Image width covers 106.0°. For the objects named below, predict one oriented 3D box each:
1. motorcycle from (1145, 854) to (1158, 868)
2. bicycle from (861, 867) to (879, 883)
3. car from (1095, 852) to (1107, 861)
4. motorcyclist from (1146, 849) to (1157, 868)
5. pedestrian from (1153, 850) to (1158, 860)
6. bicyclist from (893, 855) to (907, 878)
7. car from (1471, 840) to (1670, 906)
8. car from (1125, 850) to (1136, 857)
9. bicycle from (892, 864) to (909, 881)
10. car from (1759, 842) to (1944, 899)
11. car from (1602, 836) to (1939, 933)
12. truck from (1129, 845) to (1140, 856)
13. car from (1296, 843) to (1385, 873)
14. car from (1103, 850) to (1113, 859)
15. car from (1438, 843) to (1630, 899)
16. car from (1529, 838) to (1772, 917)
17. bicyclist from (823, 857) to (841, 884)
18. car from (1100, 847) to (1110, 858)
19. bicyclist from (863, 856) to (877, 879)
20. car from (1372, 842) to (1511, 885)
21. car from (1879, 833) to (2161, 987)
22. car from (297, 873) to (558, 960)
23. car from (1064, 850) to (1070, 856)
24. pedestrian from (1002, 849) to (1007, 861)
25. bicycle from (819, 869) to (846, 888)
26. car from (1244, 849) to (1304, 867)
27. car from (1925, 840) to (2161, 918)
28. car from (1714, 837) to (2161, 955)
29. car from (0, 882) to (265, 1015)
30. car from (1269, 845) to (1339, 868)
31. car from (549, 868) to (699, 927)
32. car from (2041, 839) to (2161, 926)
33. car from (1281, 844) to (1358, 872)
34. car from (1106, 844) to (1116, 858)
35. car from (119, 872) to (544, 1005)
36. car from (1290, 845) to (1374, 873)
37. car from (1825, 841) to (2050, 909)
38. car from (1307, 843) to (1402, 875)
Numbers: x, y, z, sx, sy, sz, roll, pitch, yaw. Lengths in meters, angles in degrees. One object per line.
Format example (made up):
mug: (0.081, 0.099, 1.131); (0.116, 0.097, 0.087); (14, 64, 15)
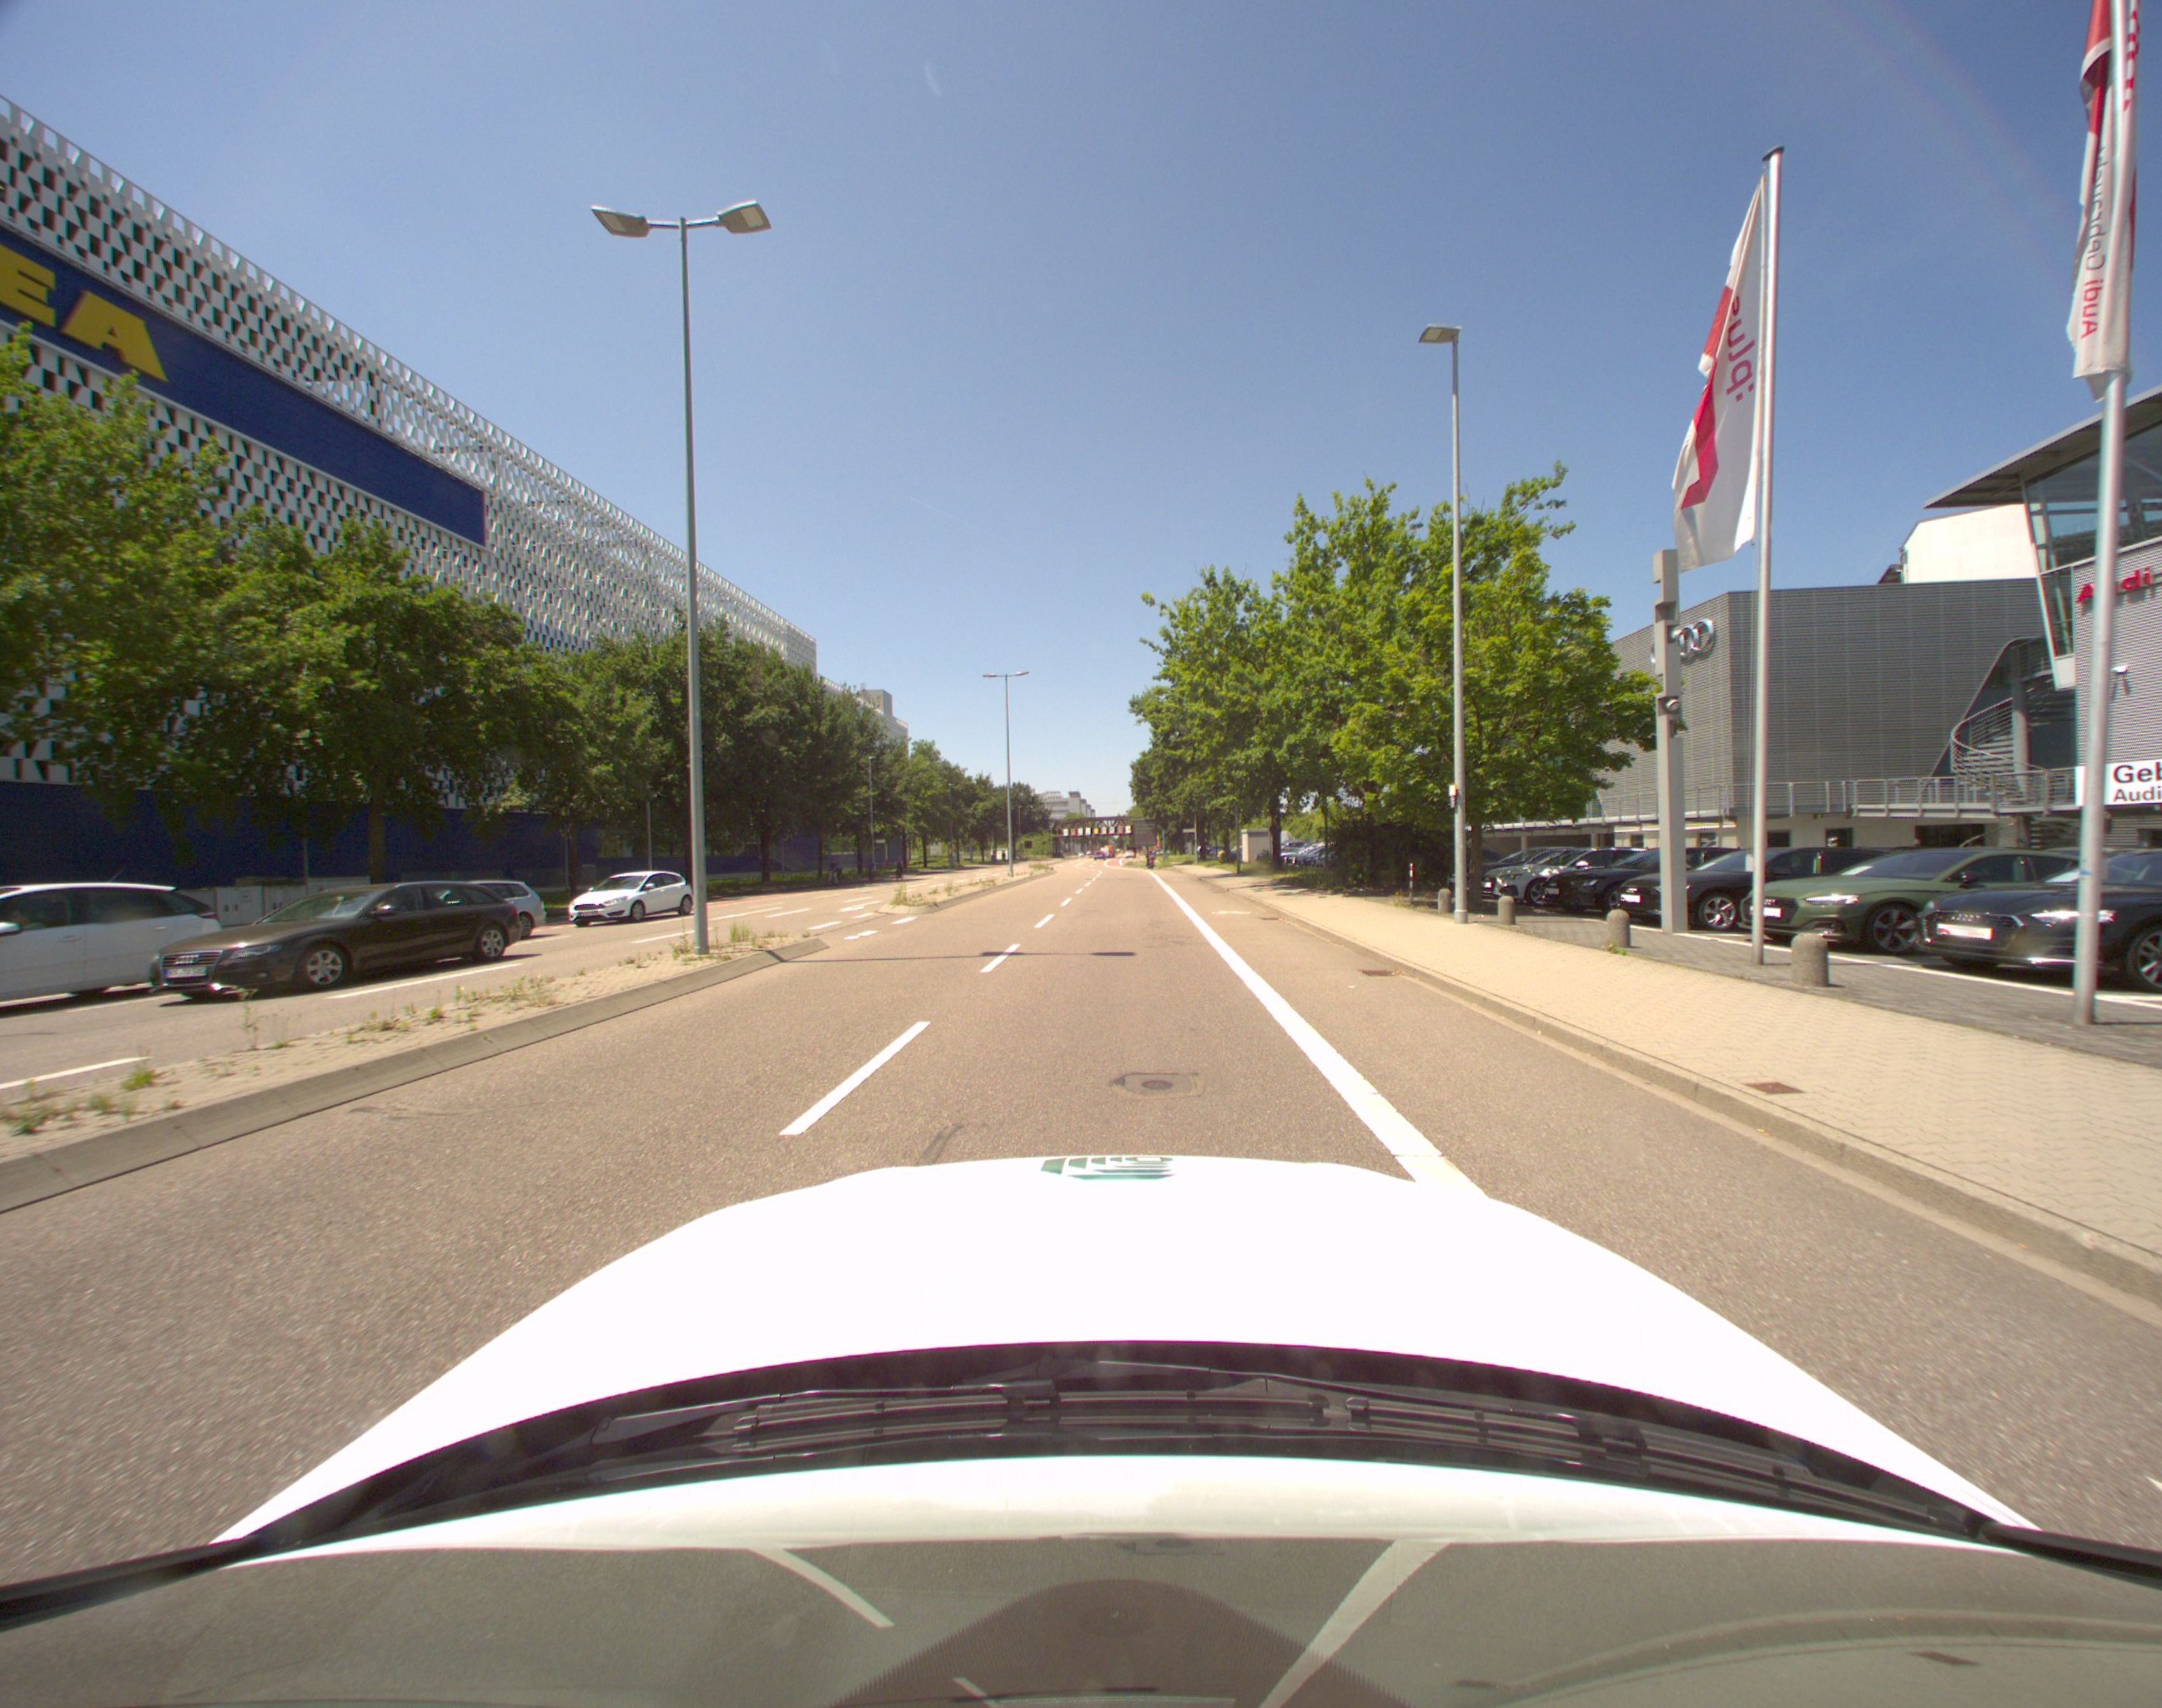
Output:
motorcycle: (5.675, 0.589, 65.572); (0.715, 1.105, 1.826); (0, 0, -7)
bicycle: (-15.346, 1.515, 59.244); (0.634, 1.133, 1.974); (-2, 0, 5)
car: (3.302, 0.390, 134.477); (1.893, 1.376, 4.234); (-2, 0, 2)
motorcyclist: (5.672, 0.390, 65.603); (0.719, 1.529, 0.869); (0, 0, -7)
pedestrian: (10.287, 0.192, 112.177); (0.621, 1.374, 0.564); (-1, 0, 1)
bicyclist: (-13.599, 0.938, 61.176); (0.631, 1.628, 1.045); (-3, 0, 2)
car: (11.573, 0.423, 19.460); (3.666, 1.453, 1.835); (1, 0, 3)
car: (9.475, -0.084, 155.894); (1.916, 1.420, 4.002); (-1, 0, 2)
bicycle: (-13.569, 1.359, 61.288); (0.626, 1.159, 2.119); (-3, 0, 2)
car: (22.823, 0.462, 24.243); (3.882, 1.583, 1.642); (1, 0, 3)
car: (11.506, 0.476, 13.835); (4.084, 1.453, 1.870); (1, 0, 3)
truck: (11.854, -0.734, 180.043); (2.448, 2.410, 7.140); (0, 0, 3)
car: (13.953, 0.215, 44.028); (4.204, 1.407, 1.919); (2, 0, 3)
car: (5.509, 0.149, 167.637); (1.887, 1.815, 4.003); (-2, 1, 2)
car: (12.225, 0.431, 22.204); (4.214, 1.401, 1.818); (1, 1, 3)
car: (11.509, 0.448, 16.672); (3.666, 1.453, 1.835); (1, 0, 3)
bicyclist: (-16.210, 1.069, 53.029); (0.741, 1.685, 0.954); (-1, 0, 6)
car: (4.542, -0.296, 153.438); (1.986, 2.013, 4.002); (-1, 0, 2)
bicyclist: (-15.359, 0.981, 59.273); (0.633, 1.582, 0.886); (-2, 0, 6)
car: (13.530, 0.333, 30.752); (4.431, 1.392, 1.835); (2, 0, 3)
car: (11.187, 0.531, 8.296); (4.208, 1.390, 1.870); (1, 0, 3)
car: (-13.830, 1.234, 17.698); (1.739, 1.422, 4.626); (-3, 0, 2)
car: (-4.444, -0.212, 252.046); (1.709, 1.732, 3.807); (-1, 0, 1)
pedestrian: (-12.593, 0.192, 133.972); (0.740, 1.884, 0.578); (-1, 0, 3)
bicycle: (-16.193, 1.586, 53.056); (0.735, 1.125, 2.439); (-1, 0, 6)
car: (14.704, 0.282, 62.096); (4.203, 1.342, 1.919); (0, 0, 3)
car: (22.610, 0.552, 18.938); (3.969, 1.654, 1.852); (1, 0, 3)
car: (11.388, 0.513, 11.063); (4.084, 1.404, 1.870); (1, 0, 3)
car: (-14.098, 1.248, 11.160); (1.719, 1.544, 3.918); (-2, 0, 3)
car: (14.892, 0.147, 54.482); (4.204, 1.341, 1.919); (2, 0, 3)
car: (-13.384, 1.220, 24.223); (1.719, 1.445, 4.454); (-3, 0, 3)
car: (22.358, 0.573, 16.313); (3.969, 1.654, 1.852); (1, 0, 3)
car: (14.360, 0.222, 49.198); (4.113, 1.380, 1.780); (4, 0, 3)
car: (6.469, -0.659, 176.949); (2.064, 2.854, 6.769); (-2, 0, 2)
car: (-10.785, 1.101, 12.367); (1.718, 1.445, 4.727); (-3, 0, 6)
car: (14.287, 0.265, 46.467); (4.204, 1.369, 1.990); (2, 0, 3)
car: (22.659, 0.526, 21.670); (3.969, 1.654, 1.852); (1, 0, 3)
car: (13.862, 0.237, 41.505); (4.204, 1.407, 1.919); (2, 0, 3)
